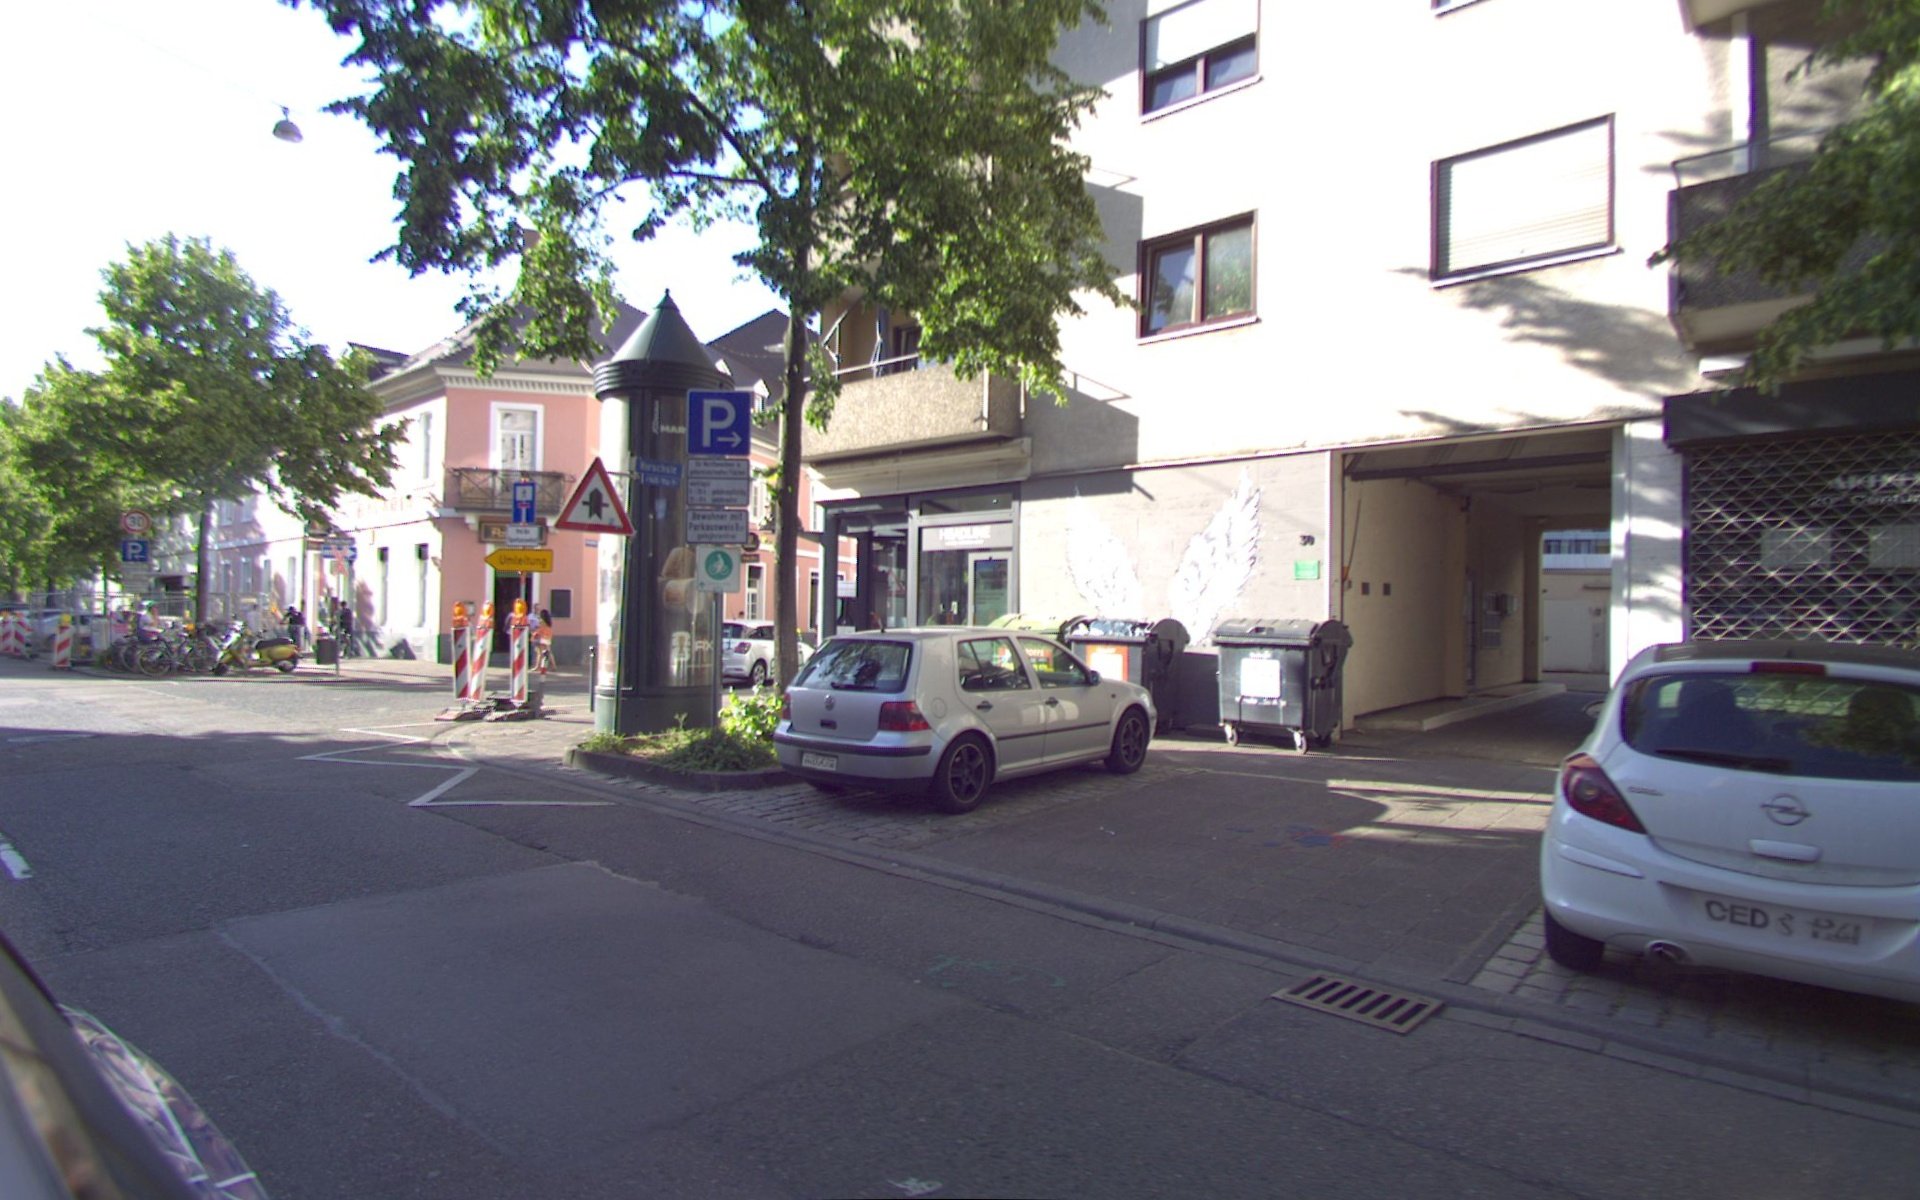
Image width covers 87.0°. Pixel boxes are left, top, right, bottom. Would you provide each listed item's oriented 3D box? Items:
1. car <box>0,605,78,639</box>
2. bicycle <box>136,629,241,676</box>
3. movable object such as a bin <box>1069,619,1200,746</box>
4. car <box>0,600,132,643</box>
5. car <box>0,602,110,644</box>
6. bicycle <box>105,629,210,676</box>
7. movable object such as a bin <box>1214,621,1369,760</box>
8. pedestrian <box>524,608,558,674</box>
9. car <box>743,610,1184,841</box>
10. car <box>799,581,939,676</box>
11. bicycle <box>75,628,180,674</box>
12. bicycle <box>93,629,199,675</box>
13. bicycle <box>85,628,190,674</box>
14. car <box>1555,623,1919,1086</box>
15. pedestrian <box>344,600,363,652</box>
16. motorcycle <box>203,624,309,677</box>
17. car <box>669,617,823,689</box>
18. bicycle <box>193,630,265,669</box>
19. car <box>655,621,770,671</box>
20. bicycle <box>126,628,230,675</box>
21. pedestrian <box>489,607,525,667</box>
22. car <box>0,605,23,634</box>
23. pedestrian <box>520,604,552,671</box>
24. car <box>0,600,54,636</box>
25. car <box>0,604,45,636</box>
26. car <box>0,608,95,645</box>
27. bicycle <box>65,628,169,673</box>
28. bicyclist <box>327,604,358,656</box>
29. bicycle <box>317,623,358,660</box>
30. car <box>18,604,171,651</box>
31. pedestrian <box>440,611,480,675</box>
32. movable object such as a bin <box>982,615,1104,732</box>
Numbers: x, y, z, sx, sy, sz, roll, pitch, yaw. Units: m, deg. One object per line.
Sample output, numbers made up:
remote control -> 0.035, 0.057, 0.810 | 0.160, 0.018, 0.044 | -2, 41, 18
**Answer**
car -> -44.870, 1.046, 48.197 | 1.910, 1.606, 4.082 | 0, -1, 40
bicycle -> -18.344, 1.226, 24.120 | 0.471, 1.037, 1.987 | 0, 0, 28
movable object such as a bin -> 2.165, 0.984, 12.587 | 1.258, 1.471, 1.022 | -1, -3, 42
car -> -36.732, 0.869, 41.412 | 1.998, 1.693, 4.082 | 0, -1, 40
car -> -38.846, 0.970, 42.847 | 1.998, 1.693, 4.082 | 0, -1, 40
bicycle -> -19.337, 1.238, 24.436 | 0.471, 1.037, 1.987 | 0, 0, 28
movable object such as a bin -> 3.716, 0.964, 11.349 | 1.351, 1.426, 1.066 | -1, -3, 42
pedestrian -> -11.272, 1.094, 27.234 | 0.579, 1.740, 0.622 | -1, -2, 38
car -> 0.229, 0.874, 8.928 | 1.748, 1.475, 3.956 | 1, 1, 41
car -> -2.593, 0.871, 30.972 | 2.204, 2.601, 6.475 | 0, -2, 15
bicycle -> -20.600, 1.237, 25.090 | 0.471, 1.037, 1.987 | 0, 0, 28
bicycle -> -19.795, 1.240, 24.658 | 0.471, 1.037, 1.987 | 0, 0, 28
bicycle -> -20.176, 1.238, 24.862 | 0.471, 1.037, 1.987 | 0, 0, 28
car -> 4.134, 0.863, 4.876 | 1.708, 1.475, 3.742 | -1, -1, 38
pedestrian -> -20.379, 0.886, 34.011 | 0.509, 1.740, 0.526 | 2, -2, -32
motorcycle -> -16.928, 1.188, 24.364 | 0.740, 1.194, 1.977 | -1, -1, 43
car -> -4.788, 1.170, 23.154 | 1.889, 1.488, 3.581 | 0, -2, 18
bicycle -> -18.557, 1.261, 25.700 | 1.493, 0.958, 0.360 | 0, 0, -8
car -> -7.779, 1.437, 32.144 | 1.983, 1.488, 3.583 | 0, -2, 17
bicycle -> -18.808, 1.222, 24.387 | 0.471, 1.037, 1.987 | 0, 0, 28
pedestrian -> -12.699, 1.037, 28.398 | 0.698, 1.675, 0.579 | 1, -2, 4
car -> -61.421, 1.193, 63.137 | 1.910, 1.816, 4.082 | 0, -1, 40
pedestrian -> -11.668, 1.033, 27.887 | 0.572, 1.826, 0.630 | 1, -2, 2
car -> -48.898, 0.896, 51.395 | 1.910, 1.816, 4.082 | 0, -1, 40
car -> -54.444, 1.107, 56.992 | 1.910, 1.816, 4.082 | 0, -1, 40
car -> -42.594, 1.204, 46.461 | 1.910, 1.606, 4.082 | 0, -1, 40
bicycle -> -21.075, 1.237, 25.353 | 0.471, 1.037, 1.987 | 0, 0, 28
bicyclist -> -18.763, 0.905, 30.752 | 0.751, 1.515, 0.563 | 2, -1, 41
bicycle -> -19.089, 1.271, 31.017 | 1.650, 1.096, 0.563 | -2, -3, 41
car -> -32.478, 1.013, 38.060 | 1.998, 1.693, 4.082 | 0, -1, 40
pedestrian -> -12.857, 1.091, 26.041 | 0.862, 1.614, 0.641 | -1, -1, 41
movable object such as a bin -> 1.109, 0.950, 13.523 | 1.258, 1.471, 1.022 | -1, -3, 42
